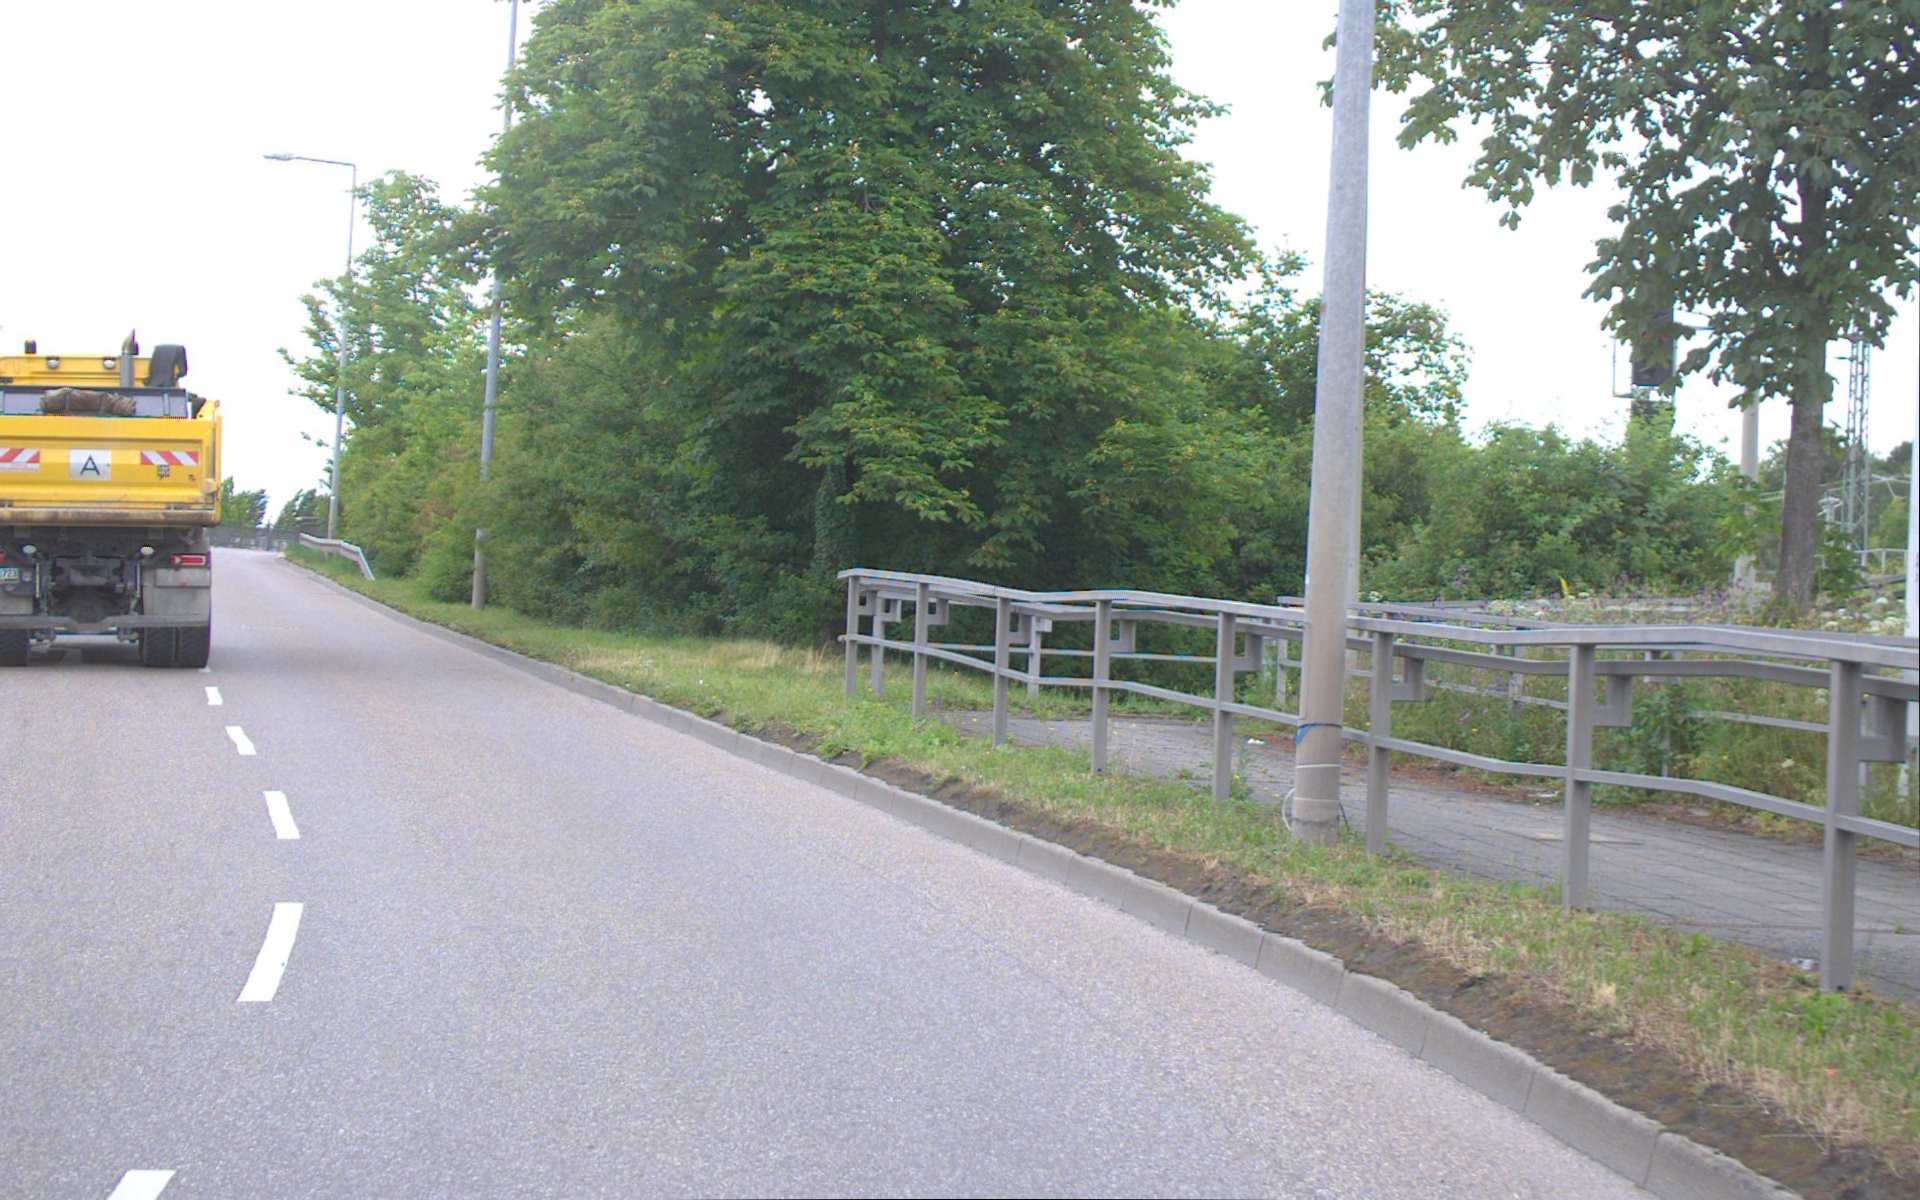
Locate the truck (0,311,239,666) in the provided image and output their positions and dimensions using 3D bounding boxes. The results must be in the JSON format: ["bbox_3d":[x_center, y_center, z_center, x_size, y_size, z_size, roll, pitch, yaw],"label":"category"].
[{"bbox_3d":[-9.524,-1.206,37.808,2.764,3.471,8.132,0,2,-14],"label":"truck"}]
